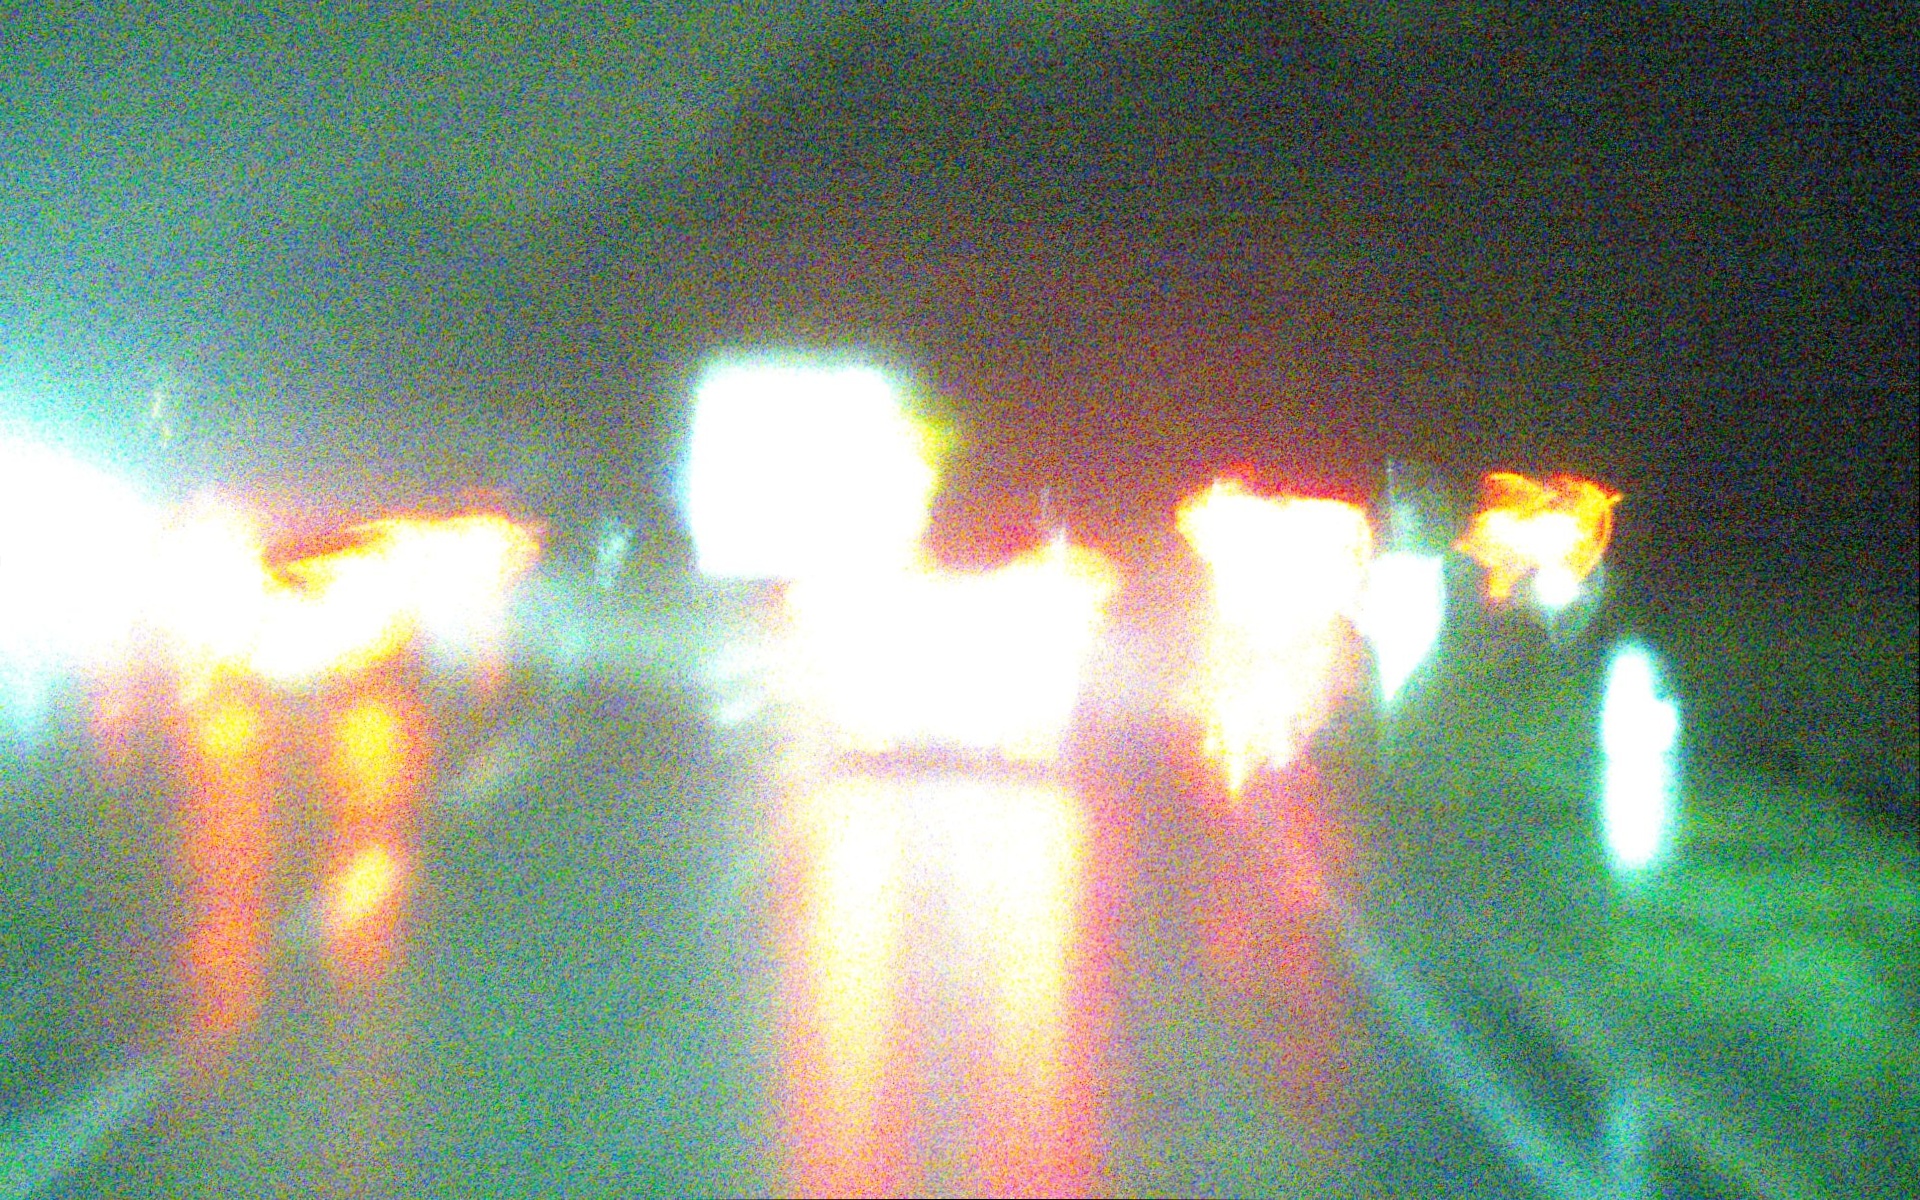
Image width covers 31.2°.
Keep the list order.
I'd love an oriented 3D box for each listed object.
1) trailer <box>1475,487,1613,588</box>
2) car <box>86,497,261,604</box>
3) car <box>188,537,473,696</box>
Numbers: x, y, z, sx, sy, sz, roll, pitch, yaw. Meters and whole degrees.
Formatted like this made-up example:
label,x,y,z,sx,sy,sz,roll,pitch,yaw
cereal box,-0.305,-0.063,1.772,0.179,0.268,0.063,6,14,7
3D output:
label,x,y,z,sx,sy,sz,roll,pitch,yaw
trailer,12.798,-1.330,74.762,2.079,2.007,10.641,0,1,14
car,-11.780,-0.756,51.767,1.767,1.512,4.915,-1,1,-4
car,-5.751,0.123,31.869,1.962,1.376,4.049,0,1,-1
